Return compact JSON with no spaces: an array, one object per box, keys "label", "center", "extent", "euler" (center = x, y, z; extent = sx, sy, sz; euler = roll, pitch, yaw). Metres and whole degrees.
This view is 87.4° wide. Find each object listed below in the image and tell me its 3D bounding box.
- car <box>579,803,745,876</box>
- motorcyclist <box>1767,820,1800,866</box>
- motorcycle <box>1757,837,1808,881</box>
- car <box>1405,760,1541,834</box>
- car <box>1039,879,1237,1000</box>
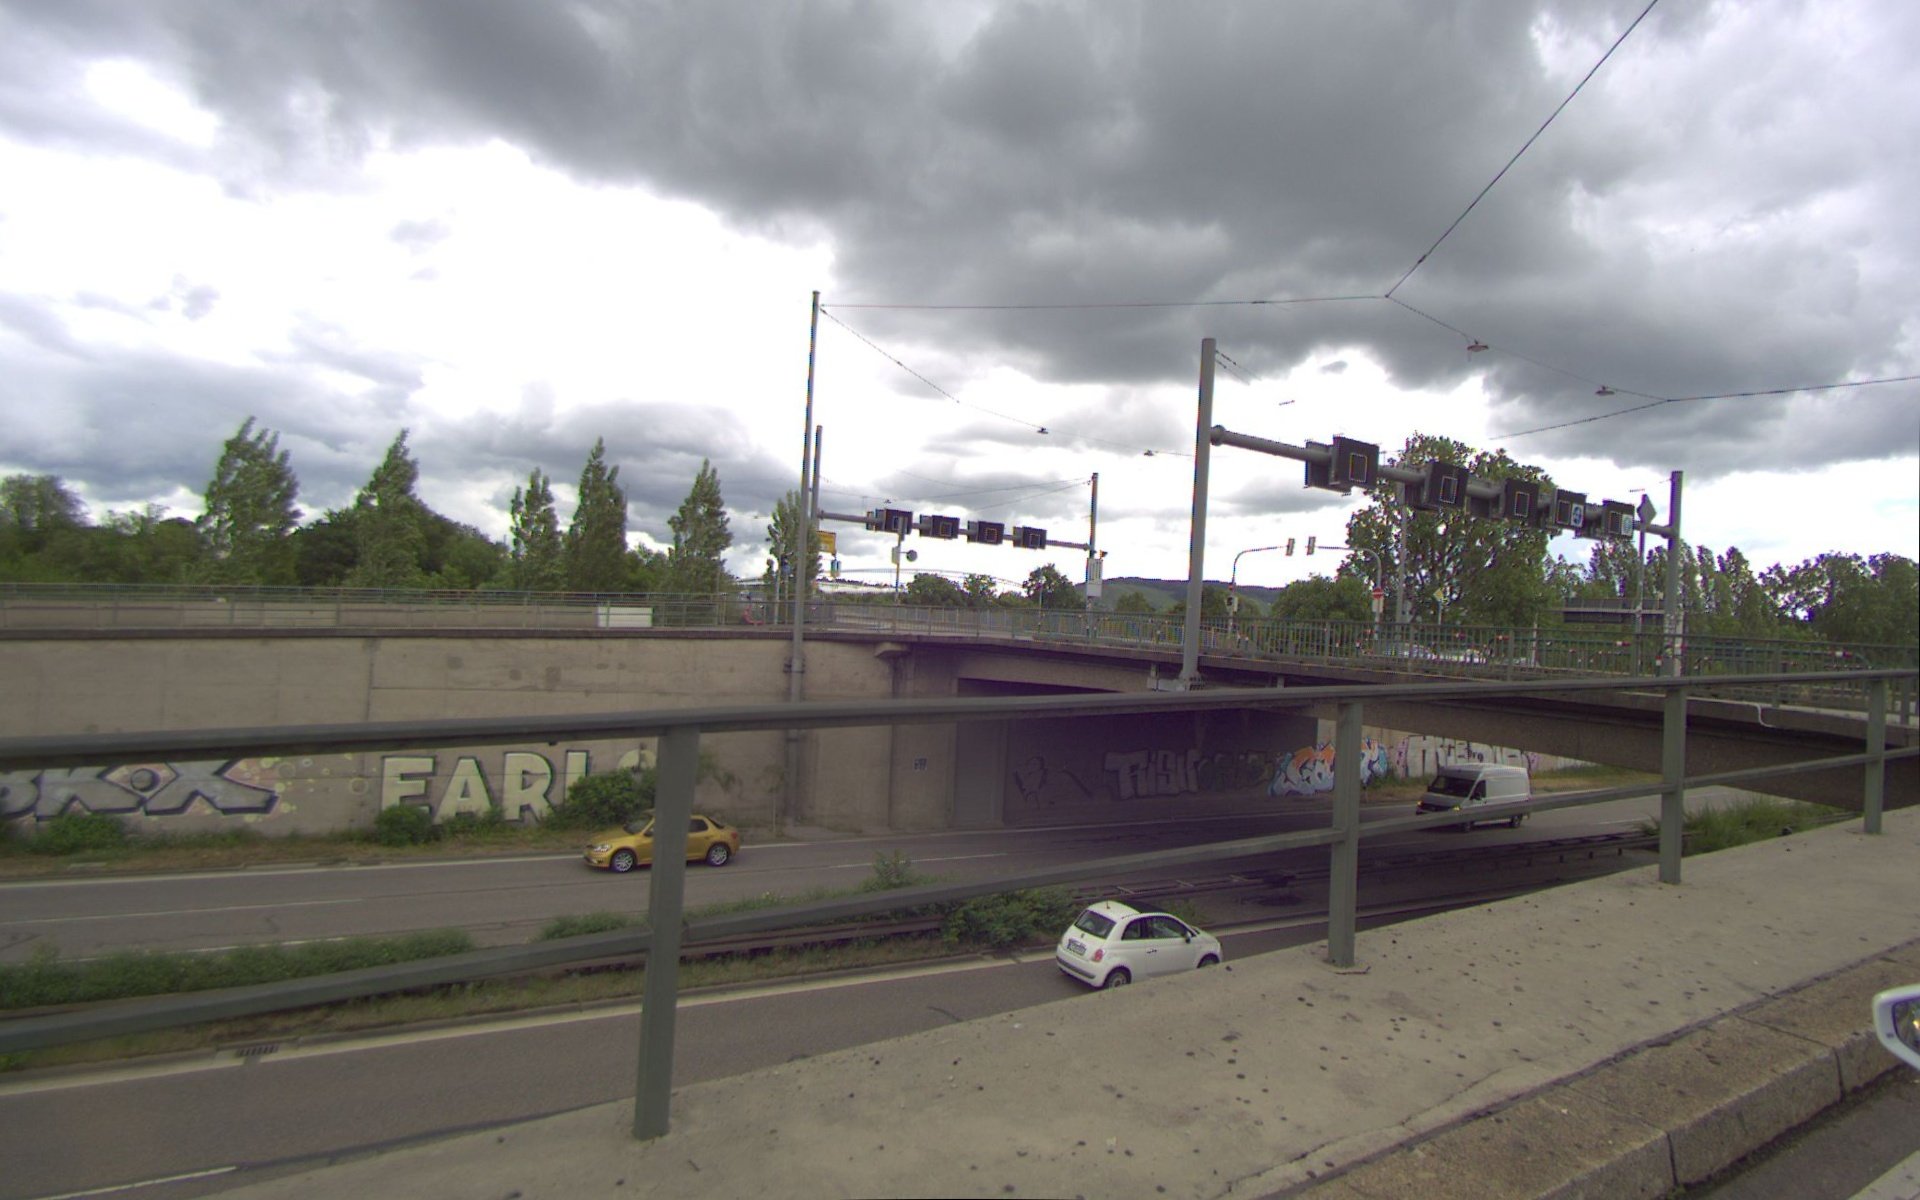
[{"label":"car","center":[-8.340,6.664,28.221],"extent":[4.106,1.476,1.859],"euler":[4,-3,-30]},{"label":"motorcyclist","center":[27.905,8.239,34.046],"extent":[0.753,1.389,0.591],"euler":[4,-1,-29]},{"label":"motorcycle","center":[27.891,8.754,34.043],"extent":[2.101,1.219,0.591],"euler":[4,-2,-29]},{"label":"car","center":[21.813,8.247,42.619],"extent":[6.032,2.628,2.157],"euler":[5,-3,-30]},{"label":"car","center":[3.553,6.641,19.945],"extent":[3.565,1.553,1.685],"euler":[4,-2,-29]}]
